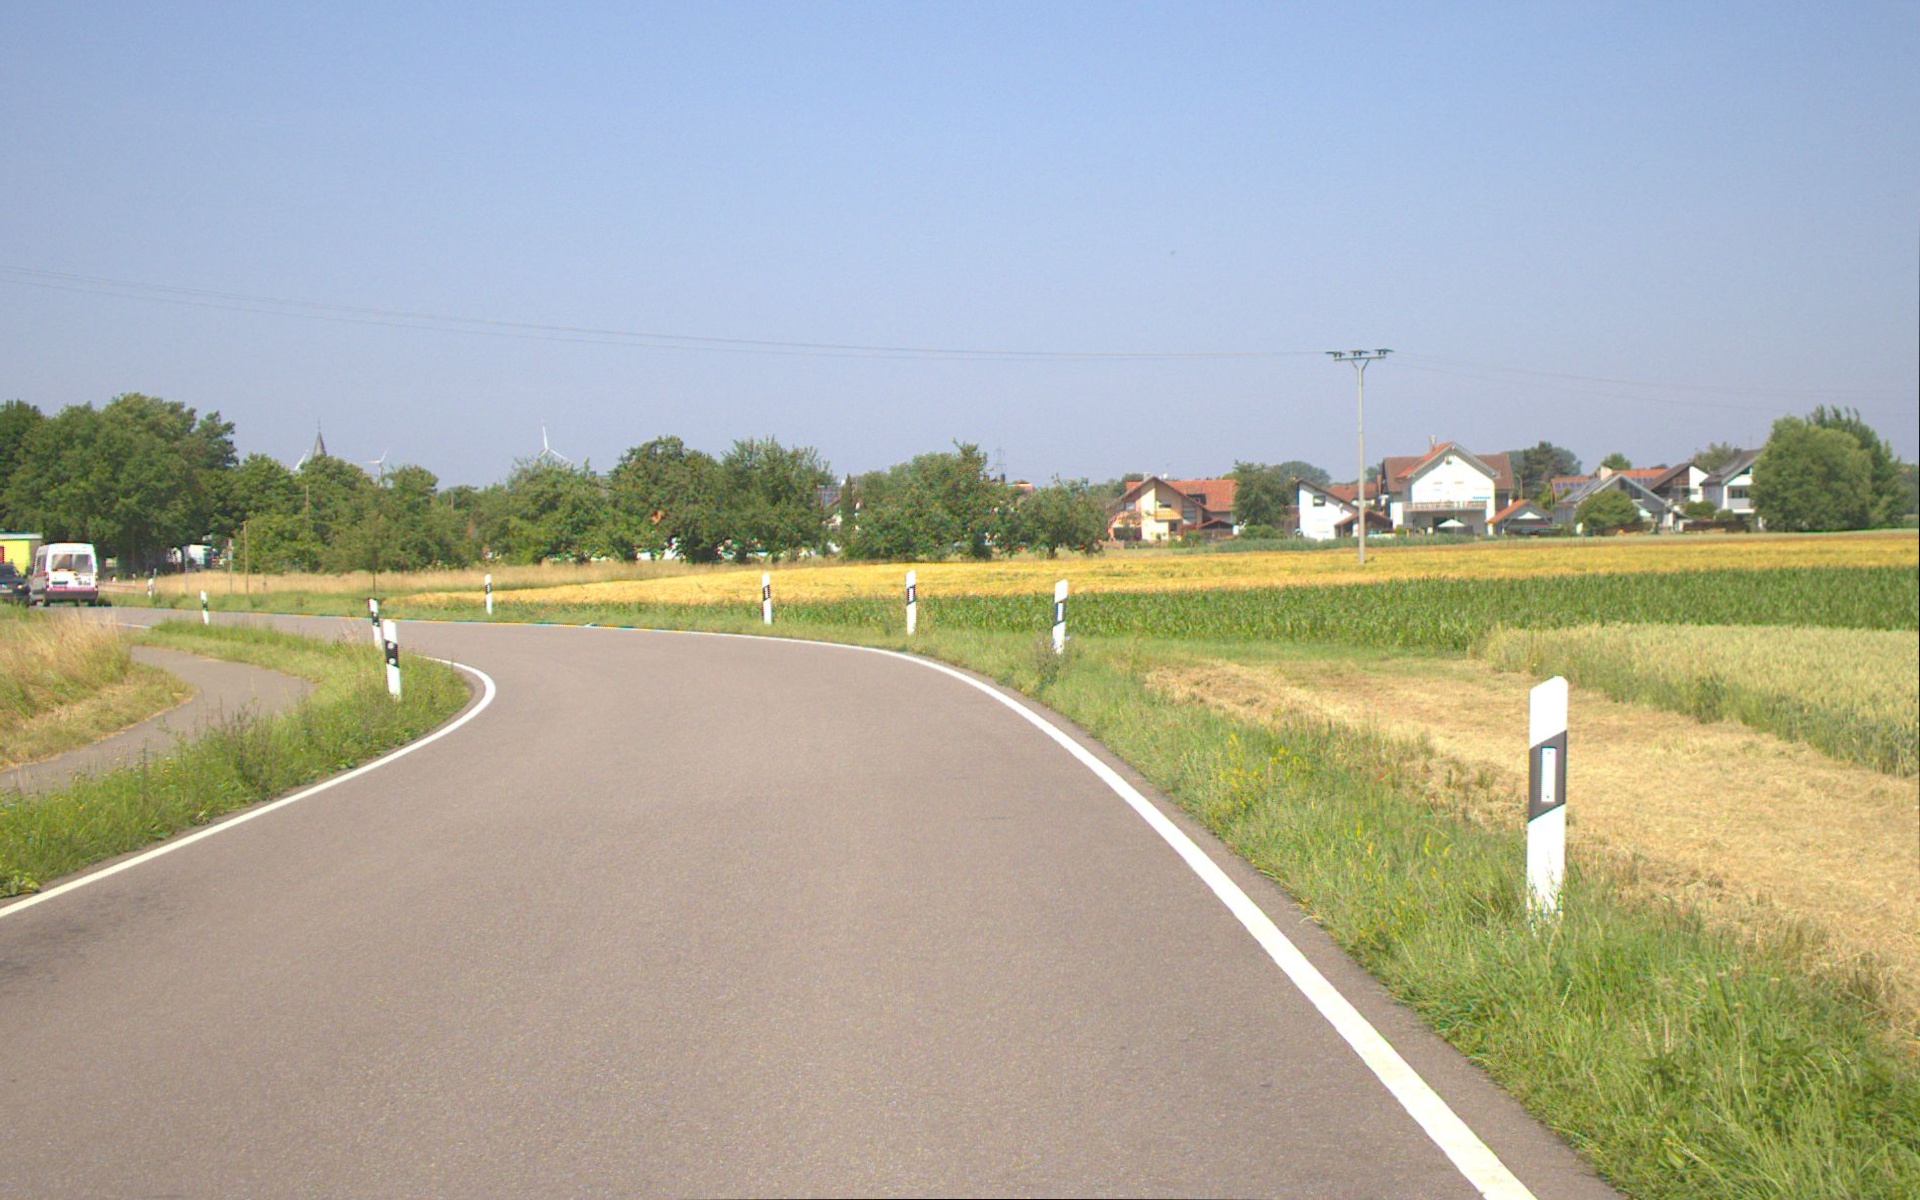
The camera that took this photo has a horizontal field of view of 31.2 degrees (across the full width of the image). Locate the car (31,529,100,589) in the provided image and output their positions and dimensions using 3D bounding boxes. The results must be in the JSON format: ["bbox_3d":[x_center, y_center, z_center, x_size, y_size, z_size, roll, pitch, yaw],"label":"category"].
[{"bbox_3d":[-35.290,-1.614,135.527,1.993,2.258,4.727,-2,1,-22],"label":"car"}]

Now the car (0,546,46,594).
[{"bbox_3d":[-35.705,-1.145,129.531,1.886,1.709,4.015,-3,2,-22],"label":"car"}]
